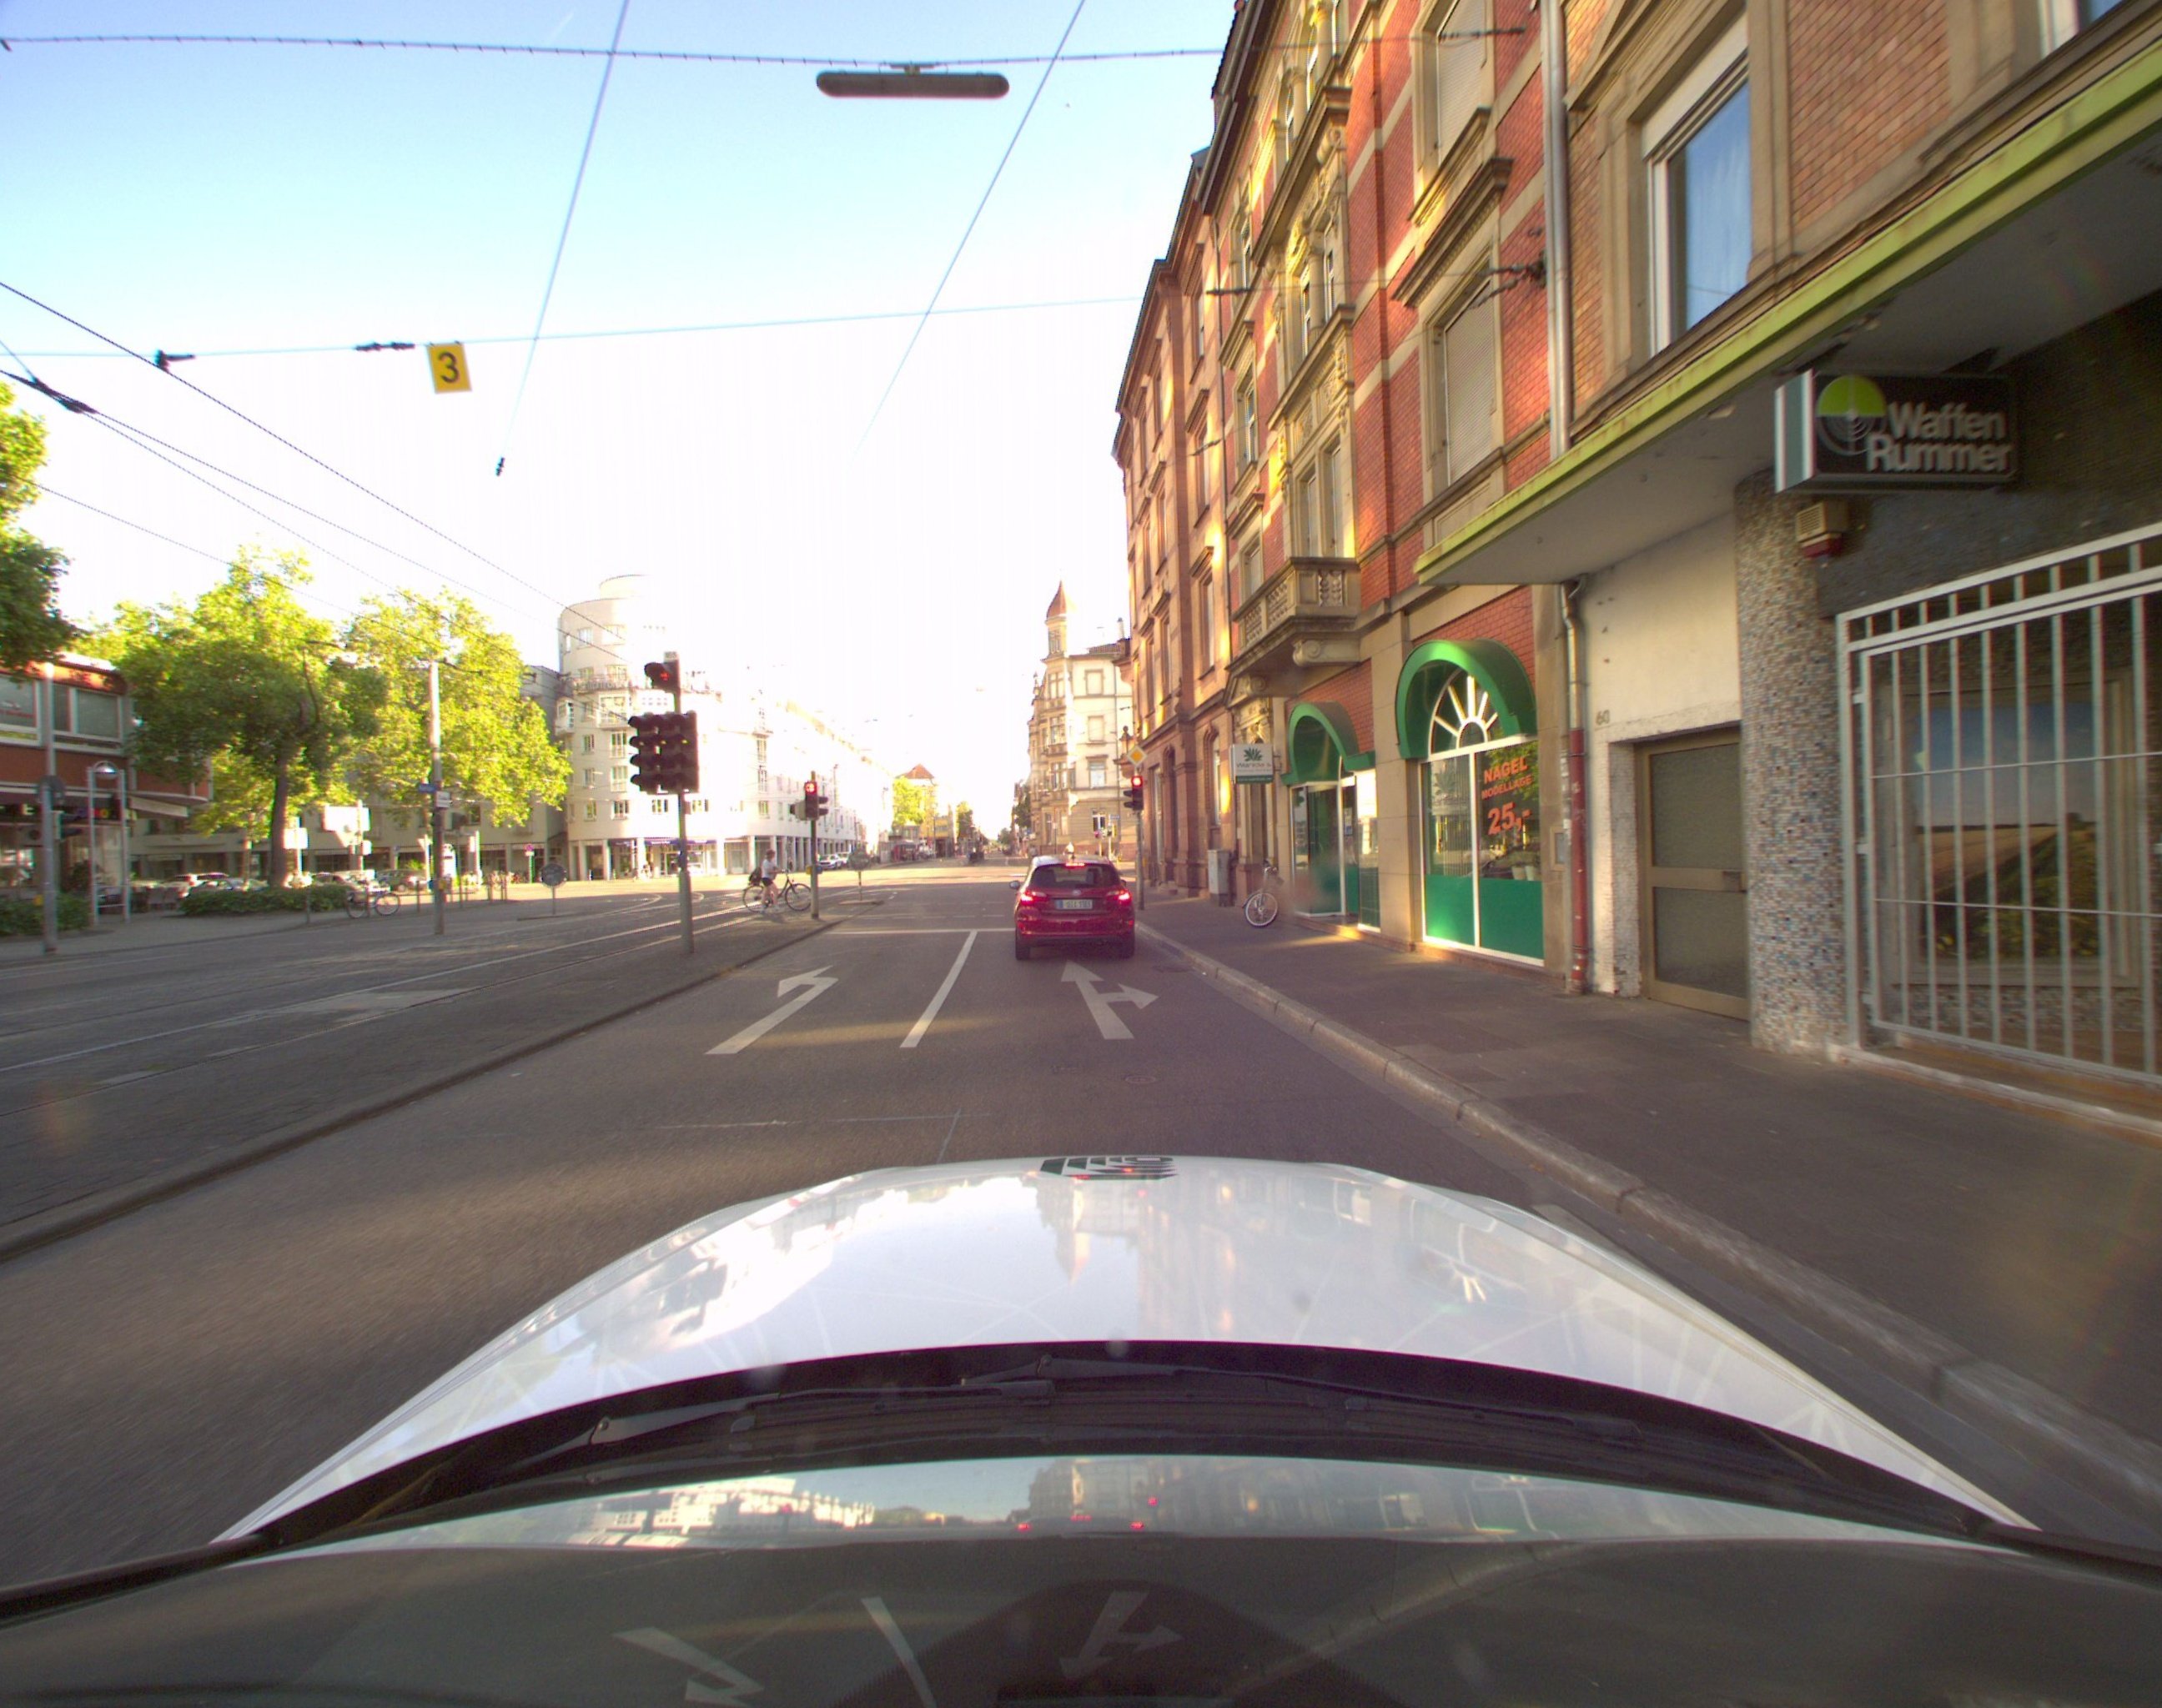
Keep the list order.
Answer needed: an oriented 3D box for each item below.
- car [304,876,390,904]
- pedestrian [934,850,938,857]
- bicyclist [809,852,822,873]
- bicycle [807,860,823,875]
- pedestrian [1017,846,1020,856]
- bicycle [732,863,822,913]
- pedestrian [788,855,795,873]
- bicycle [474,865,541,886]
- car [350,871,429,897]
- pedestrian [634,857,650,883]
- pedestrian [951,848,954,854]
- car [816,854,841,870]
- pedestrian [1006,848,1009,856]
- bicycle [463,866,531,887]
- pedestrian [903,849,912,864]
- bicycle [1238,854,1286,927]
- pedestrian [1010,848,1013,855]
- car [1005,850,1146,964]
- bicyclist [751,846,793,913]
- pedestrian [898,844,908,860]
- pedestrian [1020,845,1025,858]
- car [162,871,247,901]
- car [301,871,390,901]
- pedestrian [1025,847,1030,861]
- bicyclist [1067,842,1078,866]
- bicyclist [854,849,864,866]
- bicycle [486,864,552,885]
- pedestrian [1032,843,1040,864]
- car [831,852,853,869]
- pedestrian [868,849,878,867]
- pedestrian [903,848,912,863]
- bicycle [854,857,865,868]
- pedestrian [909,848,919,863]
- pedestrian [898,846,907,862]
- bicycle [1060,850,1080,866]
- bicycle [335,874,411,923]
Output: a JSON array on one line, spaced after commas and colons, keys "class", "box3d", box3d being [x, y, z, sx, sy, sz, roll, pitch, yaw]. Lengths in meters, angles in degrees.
[{"class": "car", "box3d": [-40.049, 1.962, 44.452, 3.971, 1.295, 1.780, -2, 1, 20]}, {"class": "pedestrian", "box3d": [-31.010, -0.206, 174.136, 0.523, 1.488, 0.582, -2, 0, -3]}, {"class": "bicyclist", "box3d": [-22.173, 0.709, 67.941, 0.806, 1.726, 0.793, -2, 0, -6]}, {"class": "bicycle", "box3d": [-22.146, 1.143, 67.854, 0.806, 1.147, 2.046, -2, 0, -5]}, {"class": "pedestrian", "box3d": [-13.506, -0.606, 175.072, 0.576, 2.013, 0.630, -2, 0, -5]}, {"class": "bicycle", "box3d": [-7.754, 0.857, 20.843, 2.013, 1.177, 0.628, -2, 0, -2]}, {"class": "pedestrian", "box3d": [-27.748, 0.978, 78.127, 0.524, 1.681, 0.484, -2, 0, -13]}, {"class": "bicycle", "box3d": [-47.833, 1.758, 67.968, 4.691, 1.530, 1.066, -2, 0, -3]}, {"class": "car", "box3d": [-48.327, 2.078, 56.960, 3.975, 1.531, 1.616, -2, 1, -1]}, {"class": "pedestrian", "box3d": [-34.402, 1.249, 63.783, 0.950, 2.013, 0.930, -2, 0, -33]}, {"class": "pedestrian", "box3d": [-31.911, -0.761, 202.042, 0.631, 1.604, 0.575, -2, 0, -22]}, {"class": "car", "box3d": [-26.369, 0.865, 85.203, 1.762, 1.546, 3.455, -2, 0, -5]}, {"class": "pedestrian", "box3d": [-19.033, -0.554, 210.391, 0.576, 1.887, 0.668, -2, 0, -5]}, {"class": "bicycle", "box3d": [-47.904, 1.856, 66.824, 4.691, 1.530, 1.066, -2, 0, -3]}, {"class": "pedestrian", "box3d": [-24.004, 0.306, 112.503, 1.044, 2.013, 0.956, -2, 0, -8]}, {"class": "bicycle", "box3d": [3.205, 0.615, 14.396, 0.710, 1.152, 1.661, -4, 1, 13]}, {"class": "pedestrian", "box3d": [-17.616, -0.627, 206.419, 0.576, 1.887, 0.630, -2, 0, -5]}, {"class": "car", "box3d": [-0.242, 0.686, 12.721, 1.752, 1.466, 3.935, -1, 0, -7]}, {"class": "bicyclist", "box3d": [-7.746, 0.627, 20.453, 0.727, 1.627, 0.765, -2, 0, -2]}, {"class": "pedestrian", "box3d": [-23.741, -0.282, 108.632, 1.044, 2.013, 0.956, -2, 0, -8]}, {"class": "pedestrian", "box3d": [-9.474, -0.413, 132.035, 0.575, 2.013, 0.631, -2, 0, 1]}, {"class": "car", "box3d": [-64.885, 2.342, 60.364, 1.989, 1.964, 3.996, -2, 0, -3]}, {"class": "car", "box3d": [-43.717, 1.913, 48.419, 3.983, 1.559, 1.634, -2, 1, 7]}, {"class": "pedestrian", "box3d": [-7.800, -0.003, 118.666, 0.645, 2.013, 0.682, -2, 0, -6]}, {"class": "bicyclist", "box3d": [-0.653, 0.007, 59.725, 0.538, 1.676, 0.504, -2, 0, 45]}, {"class": "bicyclist", "box3d": [-23.840, 0.393, 87.300, 0.806, 1.821, 0.991, -2, 0, -5]}, {"class": "bicycle", "box3d": [-47.956, 1.761, 69.513, 4.691, 1.530, 1.066, -2, 0, -3]}, {"class": "pedestrian", "box3d": [-4.416, -0.047, 79.292, 0.650, 2.013, 0.758, -2, 0, -6]}, {"class": "car", "box3d": [-27.178, 0.720, 92.609, 1.699, 1.718, 3.557, -2, 0, -6]}, {"class": "pedestrian", "box3d": [-20.045, 0.352, 78.636, 0.767, 1.730, 0.572, -2, 0, -4]}, {"class": "pedestrian", "box3d": [-23.552, 0.242, 110.560, 1.044, 2.013, 0.956, -2, 0, -8]}, {"class": "bicycle", "box3d": [-23.827, 0.900, 87.559, 0.806, 1.147, 2.007, -2, 0, -5]}, {"class": "pedestrian", "box3d": [-22.298, 0.200, 108.736, 1.044, 2.013, 0.956, -2, 0, -8]}, {"class": "pedestrian", "box3d": [-23.298, 0.001, 106.233, 0.954, 2.013, 1.047, -2, 0, -5]}, {"class": "bicycle", "box3d": [-0.817, 0.295, 59.899, 1.468, 1.089, 0.531, -2, 0, 45]}, {"class": "bicycle", "box3d": [-21.302, 1.312, 24.541, 0.669, 1.327, 1.904, 1, 0, -3]}]
